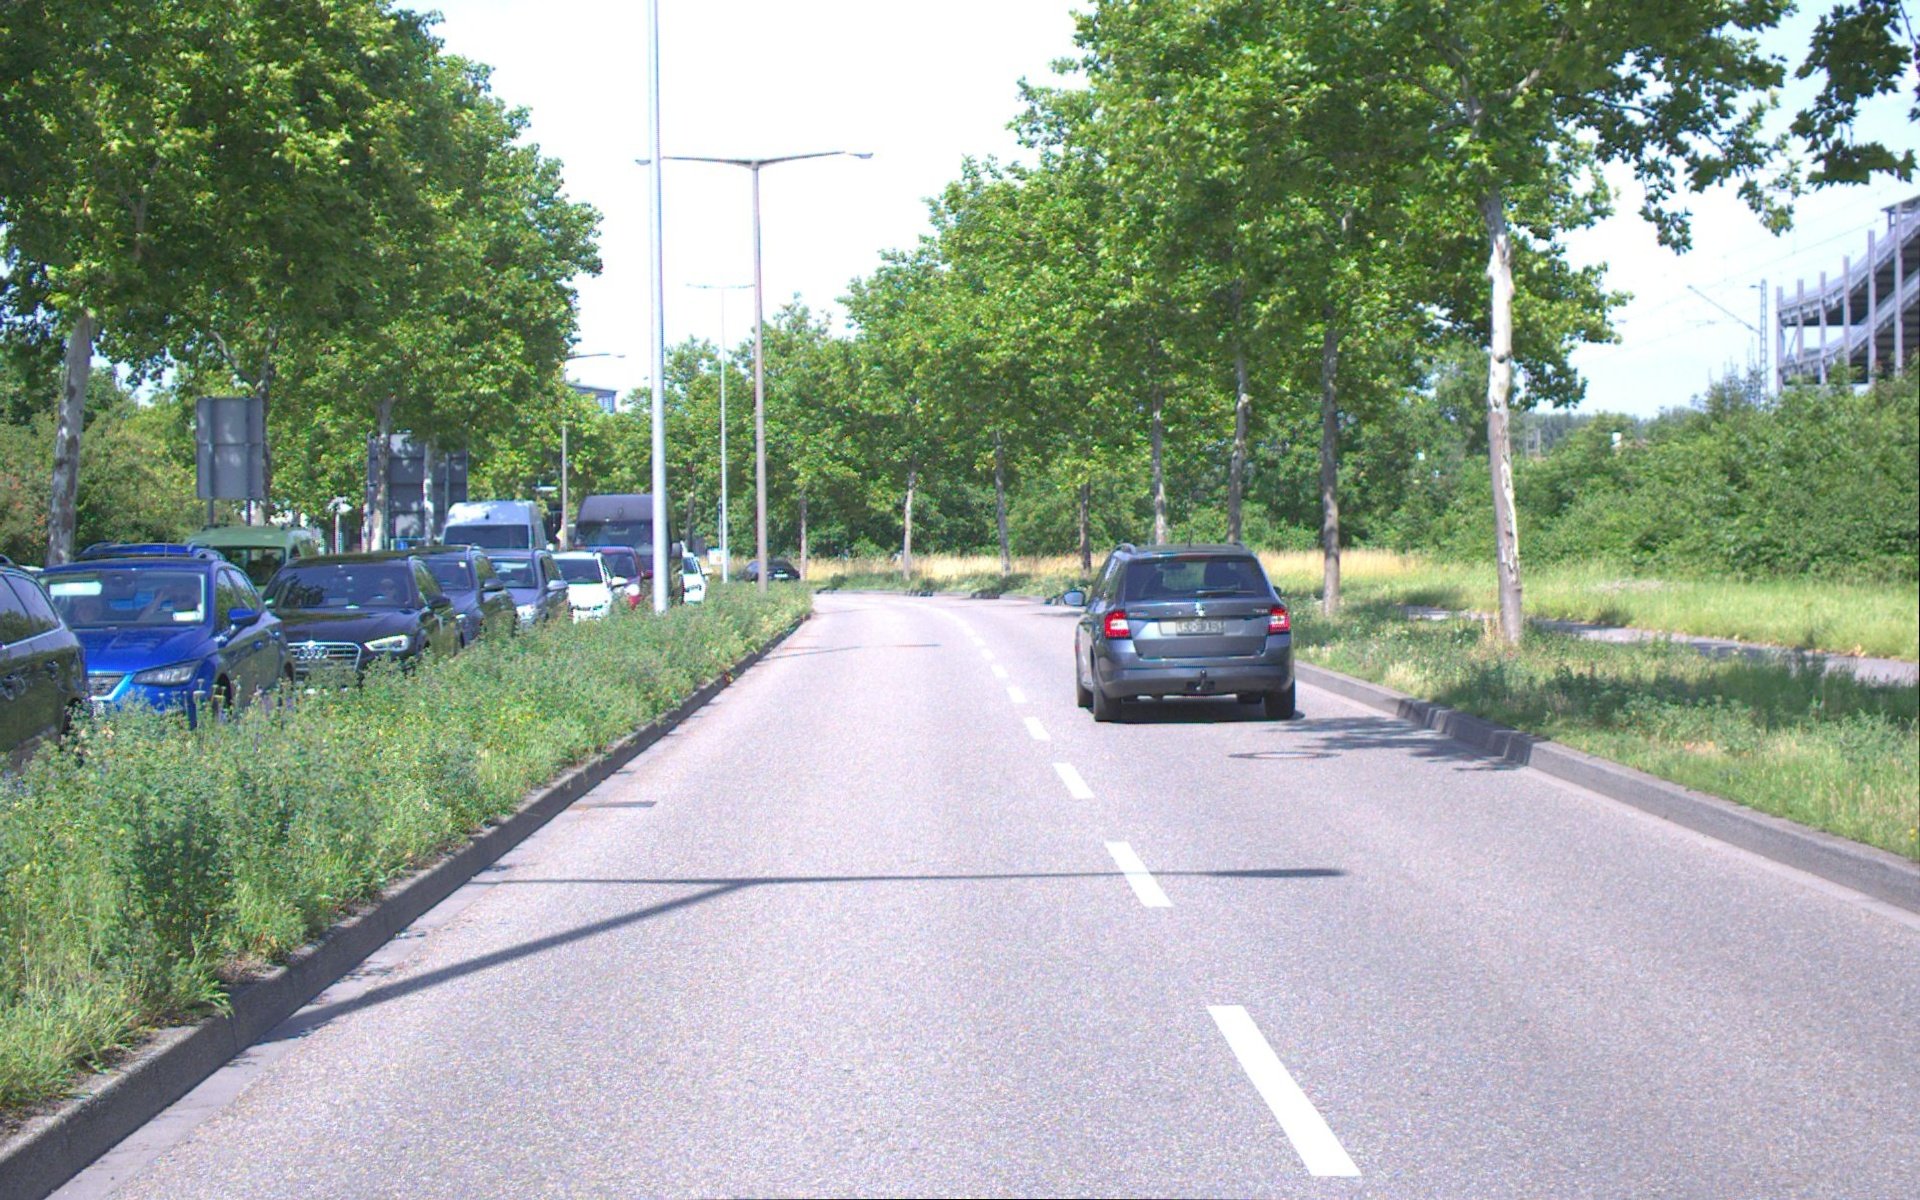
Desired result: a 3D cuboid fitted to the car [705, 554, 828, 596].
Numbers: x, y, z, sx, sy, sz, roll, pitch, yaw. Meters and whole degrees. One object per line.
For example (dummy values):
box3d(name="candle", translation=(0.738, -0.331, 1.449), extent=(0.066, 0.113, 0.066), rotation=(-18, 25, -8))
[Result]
box3d(name="car", translation=(-7.444, -0.967, 132.008), extent=(4.617, 1.458, 1.910), rotation=(2, 3, 38))

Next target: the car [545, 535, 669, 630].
box3d(name="car", translation=(-5.859, -0.320, 57.373), extent=(1.689, 1.505, 3.815), rotation=(-1, 1, -1))

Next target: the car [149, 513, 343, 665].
box3d(name="car", translation=(-9.202, -0.164, 44.600), extent=(1.689, 1.852, 4.037), rotation=(-1, 1, -1))

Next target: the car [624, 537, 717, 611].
box3d(name="car", translation=(-6.209, -0.549, 74.036), extent=(1.689, 1.525, 3.815), rotation=(-1, 0, -1))

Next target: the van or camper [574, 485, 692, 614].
box3d(name="van or camper", translation=(-6.288, -0.958, 66.522), extent=(1.938, 2.360, 5.399), rotation=(-1, 0, -2))

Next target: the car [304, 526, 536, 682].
box3d(name="car", translation=(-5.987, -0.010, 38.663), extent=(1.847, 1.602, 5.008), rotation=(-1, 1, -1))

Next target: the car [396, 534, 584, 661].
box3d(name="car", translation=(-6.067, -0.075, 44.876), extent=(1.813, 1.525, 4.642), rotation=(-1, 1, 0))

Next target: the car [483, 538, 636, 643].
box3d(name="car", translation=(-5.887, -0.177, 50.947), extent=(1.783, 1.454, 4.472), rotation=(-1, 1, -1))

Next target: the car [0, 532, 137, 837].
box3d(name="car", translation=(-5.718, 0.435, 17.851), extent=(1.758, 1.525, 4.828), rotation=(-1, 1, -1))

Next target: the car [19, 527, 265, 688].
box3d(name="car", translation=(-8.879, 0.033, 37.631), extent=(1.689, 1.626, 4.311), rotation=(-1, 1, -1))

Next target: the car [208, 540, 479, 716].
box3d(name="car", translation=(-5.618, 0.200, 31.808), extent=(1.823, 1.460, 4.451), rotation=(-1, 1, -2))

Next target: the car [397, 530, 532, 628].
box3d(name="car", translation=(-9.300, -0.421, 64.751), extent=(1.993, 1.750, 4.000), rotation=(-1, 1, -1))

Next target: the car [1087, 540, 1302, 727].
box3d(name="car", translation=(2.004, 0.232, 29.395), extent=(1.674, 1.448, 4.035), rotation=(-1, 1, 4))

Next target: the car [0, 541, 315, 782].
box3d(name="car", translation=(-5.715, 0.356, 23.860), extent=(1.784, 1.484, 4.212), rotation=(-1, 1, -2))

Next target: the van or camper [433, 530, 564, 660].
box3d(name="van or camper", translation=(-9.619, -0.150, 72.071), extent=(2.015, 2.579, 5.517), rotation=(-1, 1, -1))
